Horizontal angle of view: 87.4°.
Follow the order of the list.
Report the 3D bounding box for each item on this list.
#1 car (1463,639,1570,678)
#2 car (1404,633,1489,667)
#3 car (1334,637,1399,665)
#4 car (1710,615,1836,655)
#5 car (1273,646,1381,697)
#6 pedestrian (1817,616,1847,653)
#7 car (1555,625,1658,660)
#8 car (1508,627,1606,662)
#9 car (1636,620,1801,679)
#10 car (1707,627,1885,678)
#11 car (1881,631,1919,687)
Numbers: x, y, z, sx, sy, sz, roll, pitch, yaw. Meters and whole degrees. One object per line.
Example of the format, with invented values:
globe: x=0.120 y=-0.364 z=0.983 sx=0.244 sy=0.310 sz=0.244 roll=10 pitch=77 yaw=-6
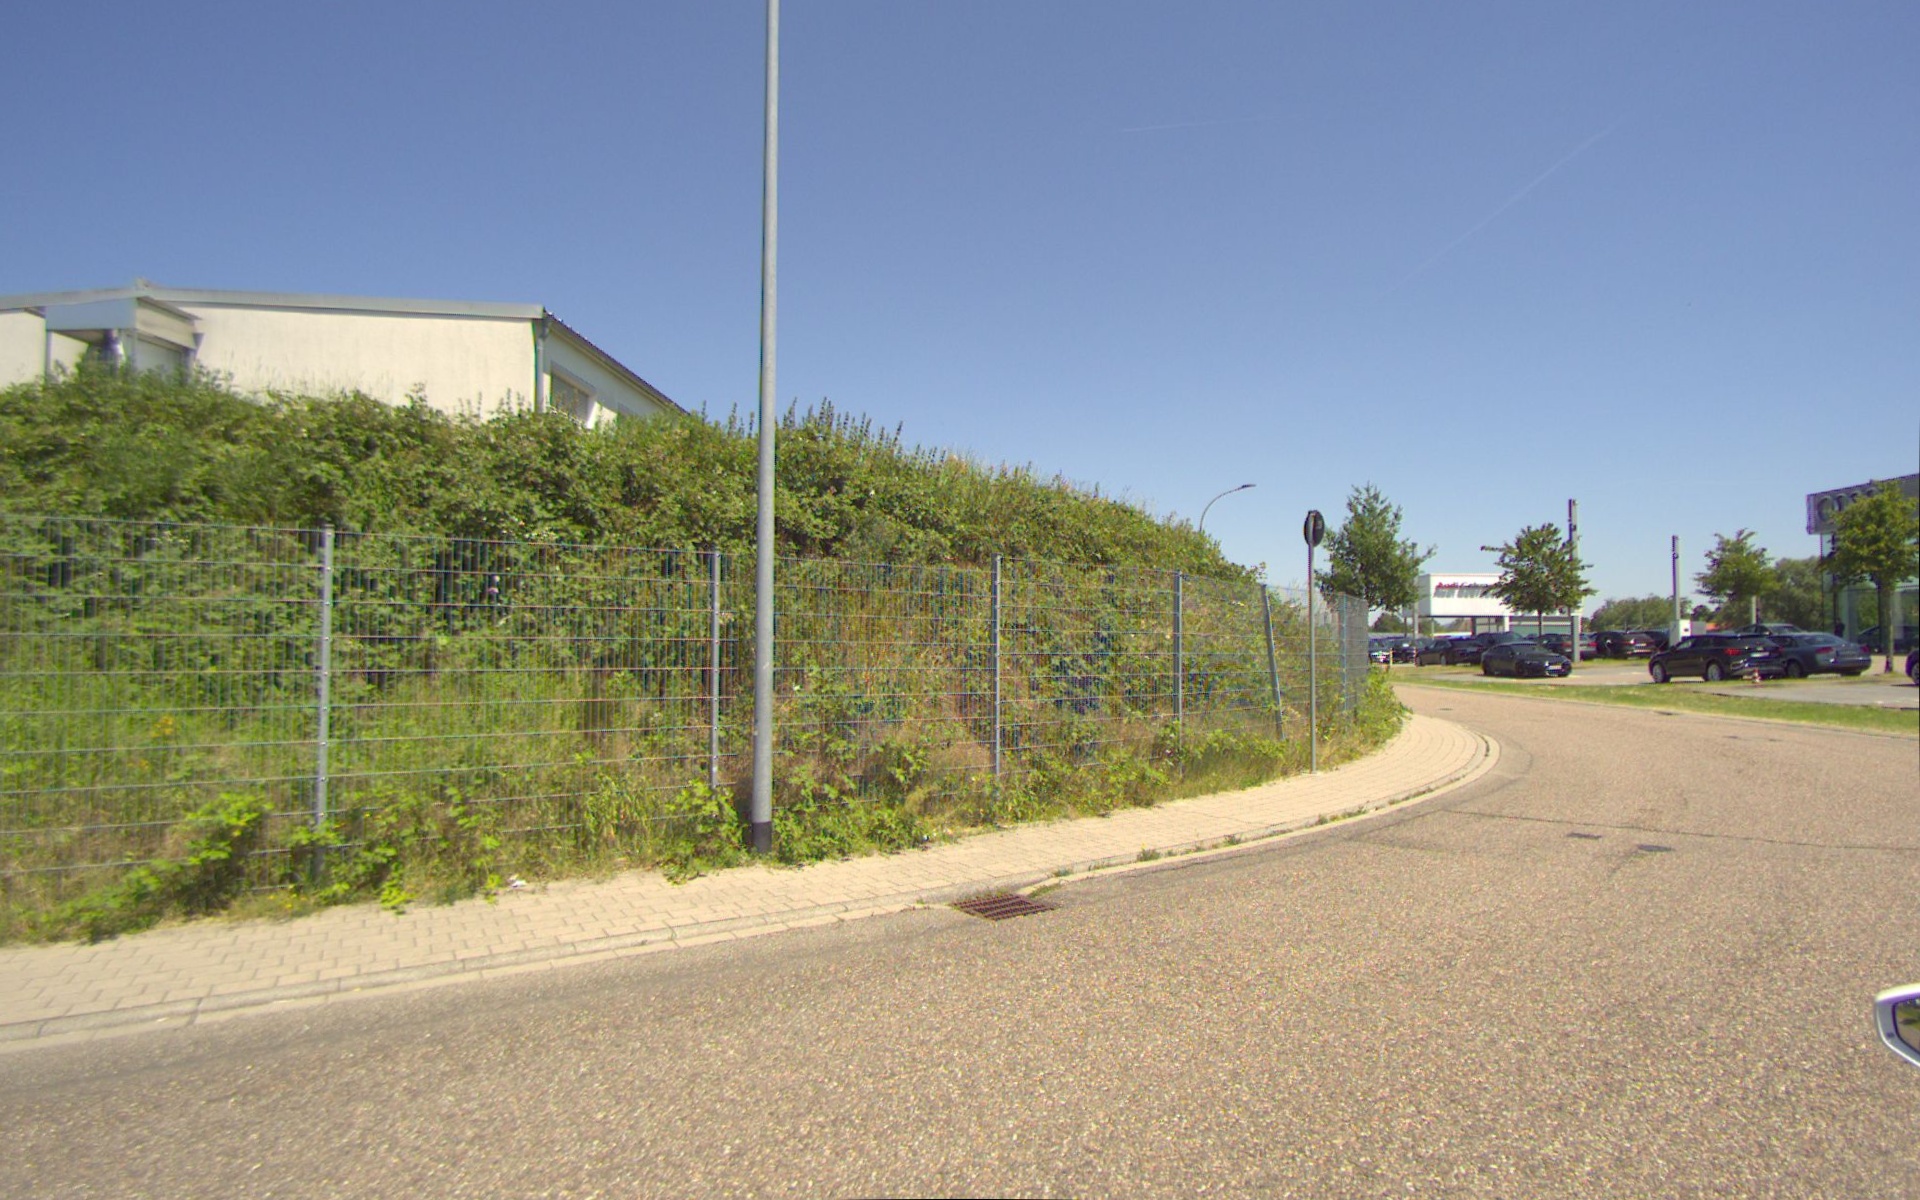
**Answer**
car: x=23.052 y=2.393 z=41.819 sx=1.928 sy=1.384 sz=4.723 roll=-3 pitch=-2 yaw=2
car: x=23.874 y=2.489 z=49.537 sx=1.928 sy=1.475 sz=4.990 roll=-2 pitch=-5 yaw=3
car: x=24.745 y=3.108 z=61.336 sx=1.991 sy=1.534 sz=5.242 roll=-3 pitch=-3 yaw=3
car: x=37.983 y=1.695 z=47.127 sx=1.928 sy=1.641 sz=4.990 roll=-2 pitch=-5 yaw=3
car: x=11.373 y=2.184 z=31.443 sx=1.794 sy=1.473 sz=4.583 roll=0 pitch=-3 yaw=2
pedestrian: x=43.282 y=1.731 z=49.878 sx=0.757 sy=1.799 sz=0.746 roll=-1 pitch=-3 yaw=8
car: x=31.259 y=2.123 z=48.777 sx=1.928 sy=1.475 sz=4.990 roll=-2 pitch=-5 yaw=3
car: x=29.017 y=2.229 z=49.048 sx=1.928 sy=1.475 sz=4.990 roll=-2 pitch=-5 yaw=3
car: x=23.226 y=1.530 z=30.989 sx=1.856 sy=1.591 sz=4.229 roll=-3 pitch=-3 yaw=1
car: x=25.538 y=1.607 z=30.902 sx=1.929 sy=1.384 sz=4.229 roll=-3 pitch=-3 yaw=1
car: x=25.032 y=1.395 z=24.090 sx=1.928 sy=1.393 sz=4.314 roll=-2 pitch=-3 yaw=2
